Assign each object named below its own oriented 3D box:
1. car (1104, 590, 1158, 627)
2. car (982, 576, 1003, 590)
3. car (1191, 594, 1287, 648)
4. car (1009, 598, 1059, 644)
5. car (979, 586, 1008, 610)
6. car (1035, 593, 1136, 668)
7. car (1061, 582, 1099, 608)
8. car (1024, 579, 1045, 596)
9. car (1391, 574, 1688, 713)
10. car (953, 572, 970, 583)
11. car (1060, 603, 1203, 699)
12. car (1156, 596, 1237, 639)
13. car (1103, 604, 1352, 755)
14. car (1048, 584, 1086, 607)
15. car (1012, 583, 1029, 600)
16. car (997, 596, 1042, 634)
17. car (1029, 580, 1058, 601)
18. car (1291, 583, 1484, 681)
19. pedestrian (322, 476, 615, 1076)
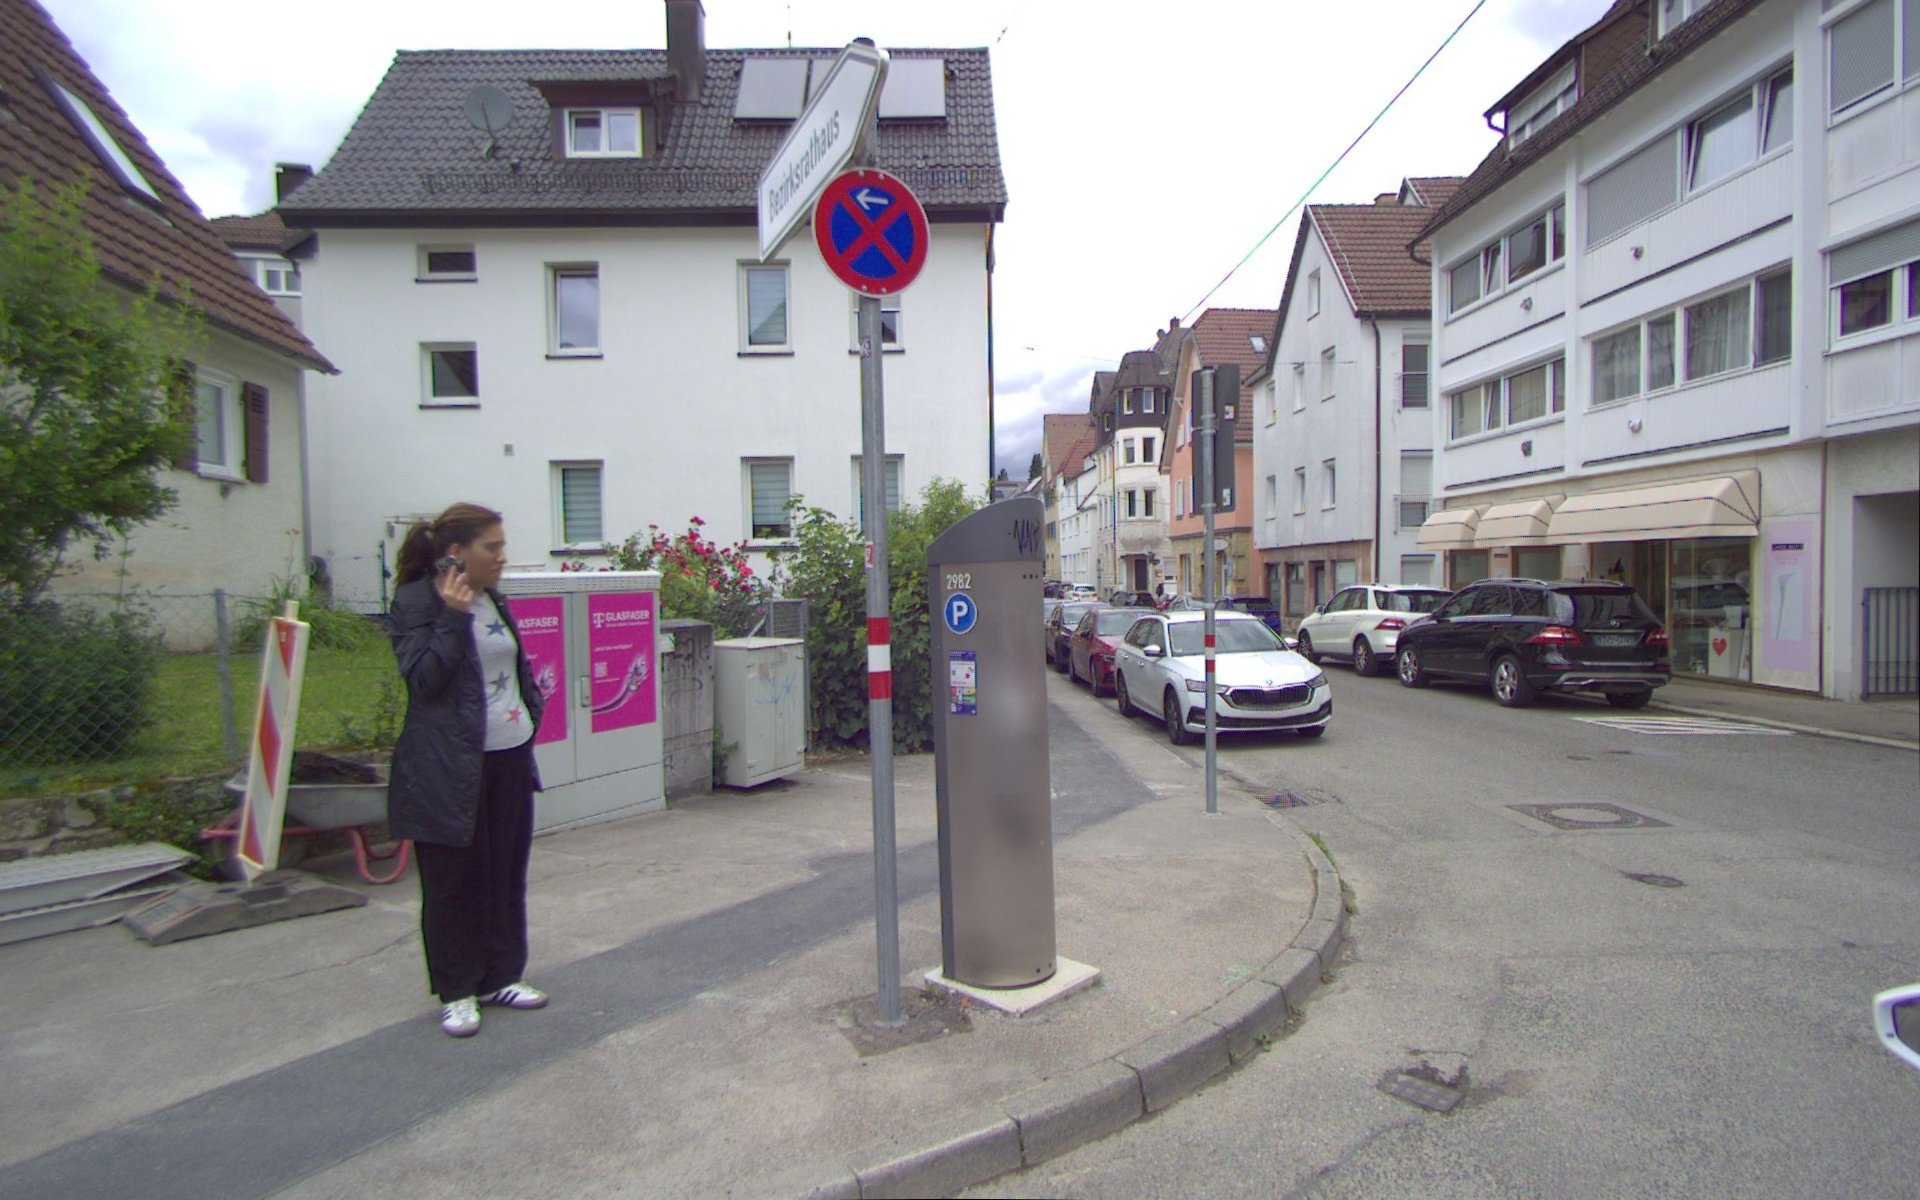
[{"bbox_3d":[7.798,0.365,46.092,1.685,1.570,3.800,1,1,-3],"label":"car"},{"bbox_3d":[4.024,-2.099,124.538,1.733,1.689,3.992,1,2,-10],"label":"car"},{"bbox_3d":[8.320,0.575,30.275,1.745,1.495,3.781,-1,0,-1],"label":"car"},{"bbox_3d":[2.446,0.659,33.846,1.262,1.377,3.803,-2,1,-2],"label":"car"},{"bbox_3d":[2.177,-0.166,66.033,1.647,1.484,3.998,1,1,-2],"label":"car"},{"bbox_3d":[2.844,0.651,23.598,1.740,1.515,3.981,-3,0,-1],"label":"car"},{"bbox_3d":[7.875,-0.367,66.233,1.738,1.546,3.898,0,2,-6],"label":"car"},{"bbox_3d":[6.476,-1.095,87.193,1.385,1.324,2.899,0,3,-5],"label":"car"},{"bbox_3d":[8.476,0.575,15.252,1.909,1.803,4.368,0,0,-2],"label":"car"},{"bbox_3d":[0.238,-3.462,151.876,1.861,1.626,3.707,1,2,-10],"label":"car"},{"bbox_3d":[3.001,0.830,18.442,1.740,1.436,4.170,-3,0,-2],"label":"car"},{"bbox_3d":[8.202,0.565,35.193,1.720,1.409,4.030,0,0,-3],"label":"car"},{"bbox_3d":[3.168,0.851,12.860,1.764,1.480,4.293,-3,0,-3],"label":"car"},{"bbox_3d":[7.604,-0.355,71.655,1.924,1.595,3.996,0,1,-6],"label":"car"},{"bbox_3d":[6.304,-0.869,105.332,1.553,1.782,3.210,0,-1,-1],"label":"car"},{"bbox_3d":[2.404,0.578,41.228,1.560,1.441,3.400,-2,0,-1],"label":"car"},{"bbox_3d":[6.790,-0.805,81.697,1.700,1.596,3.830,0,2,-5],"label":"car"},{"bbox_3d":[8.416,0.536,20.271,1.902,1.735,4.375,-1,1,-2],"label":"car"},{"bbox_3d":[-1.598,0.498,3.283,0.637,1.707,0.602,2,1,33],"label":"pedestrian"}]
